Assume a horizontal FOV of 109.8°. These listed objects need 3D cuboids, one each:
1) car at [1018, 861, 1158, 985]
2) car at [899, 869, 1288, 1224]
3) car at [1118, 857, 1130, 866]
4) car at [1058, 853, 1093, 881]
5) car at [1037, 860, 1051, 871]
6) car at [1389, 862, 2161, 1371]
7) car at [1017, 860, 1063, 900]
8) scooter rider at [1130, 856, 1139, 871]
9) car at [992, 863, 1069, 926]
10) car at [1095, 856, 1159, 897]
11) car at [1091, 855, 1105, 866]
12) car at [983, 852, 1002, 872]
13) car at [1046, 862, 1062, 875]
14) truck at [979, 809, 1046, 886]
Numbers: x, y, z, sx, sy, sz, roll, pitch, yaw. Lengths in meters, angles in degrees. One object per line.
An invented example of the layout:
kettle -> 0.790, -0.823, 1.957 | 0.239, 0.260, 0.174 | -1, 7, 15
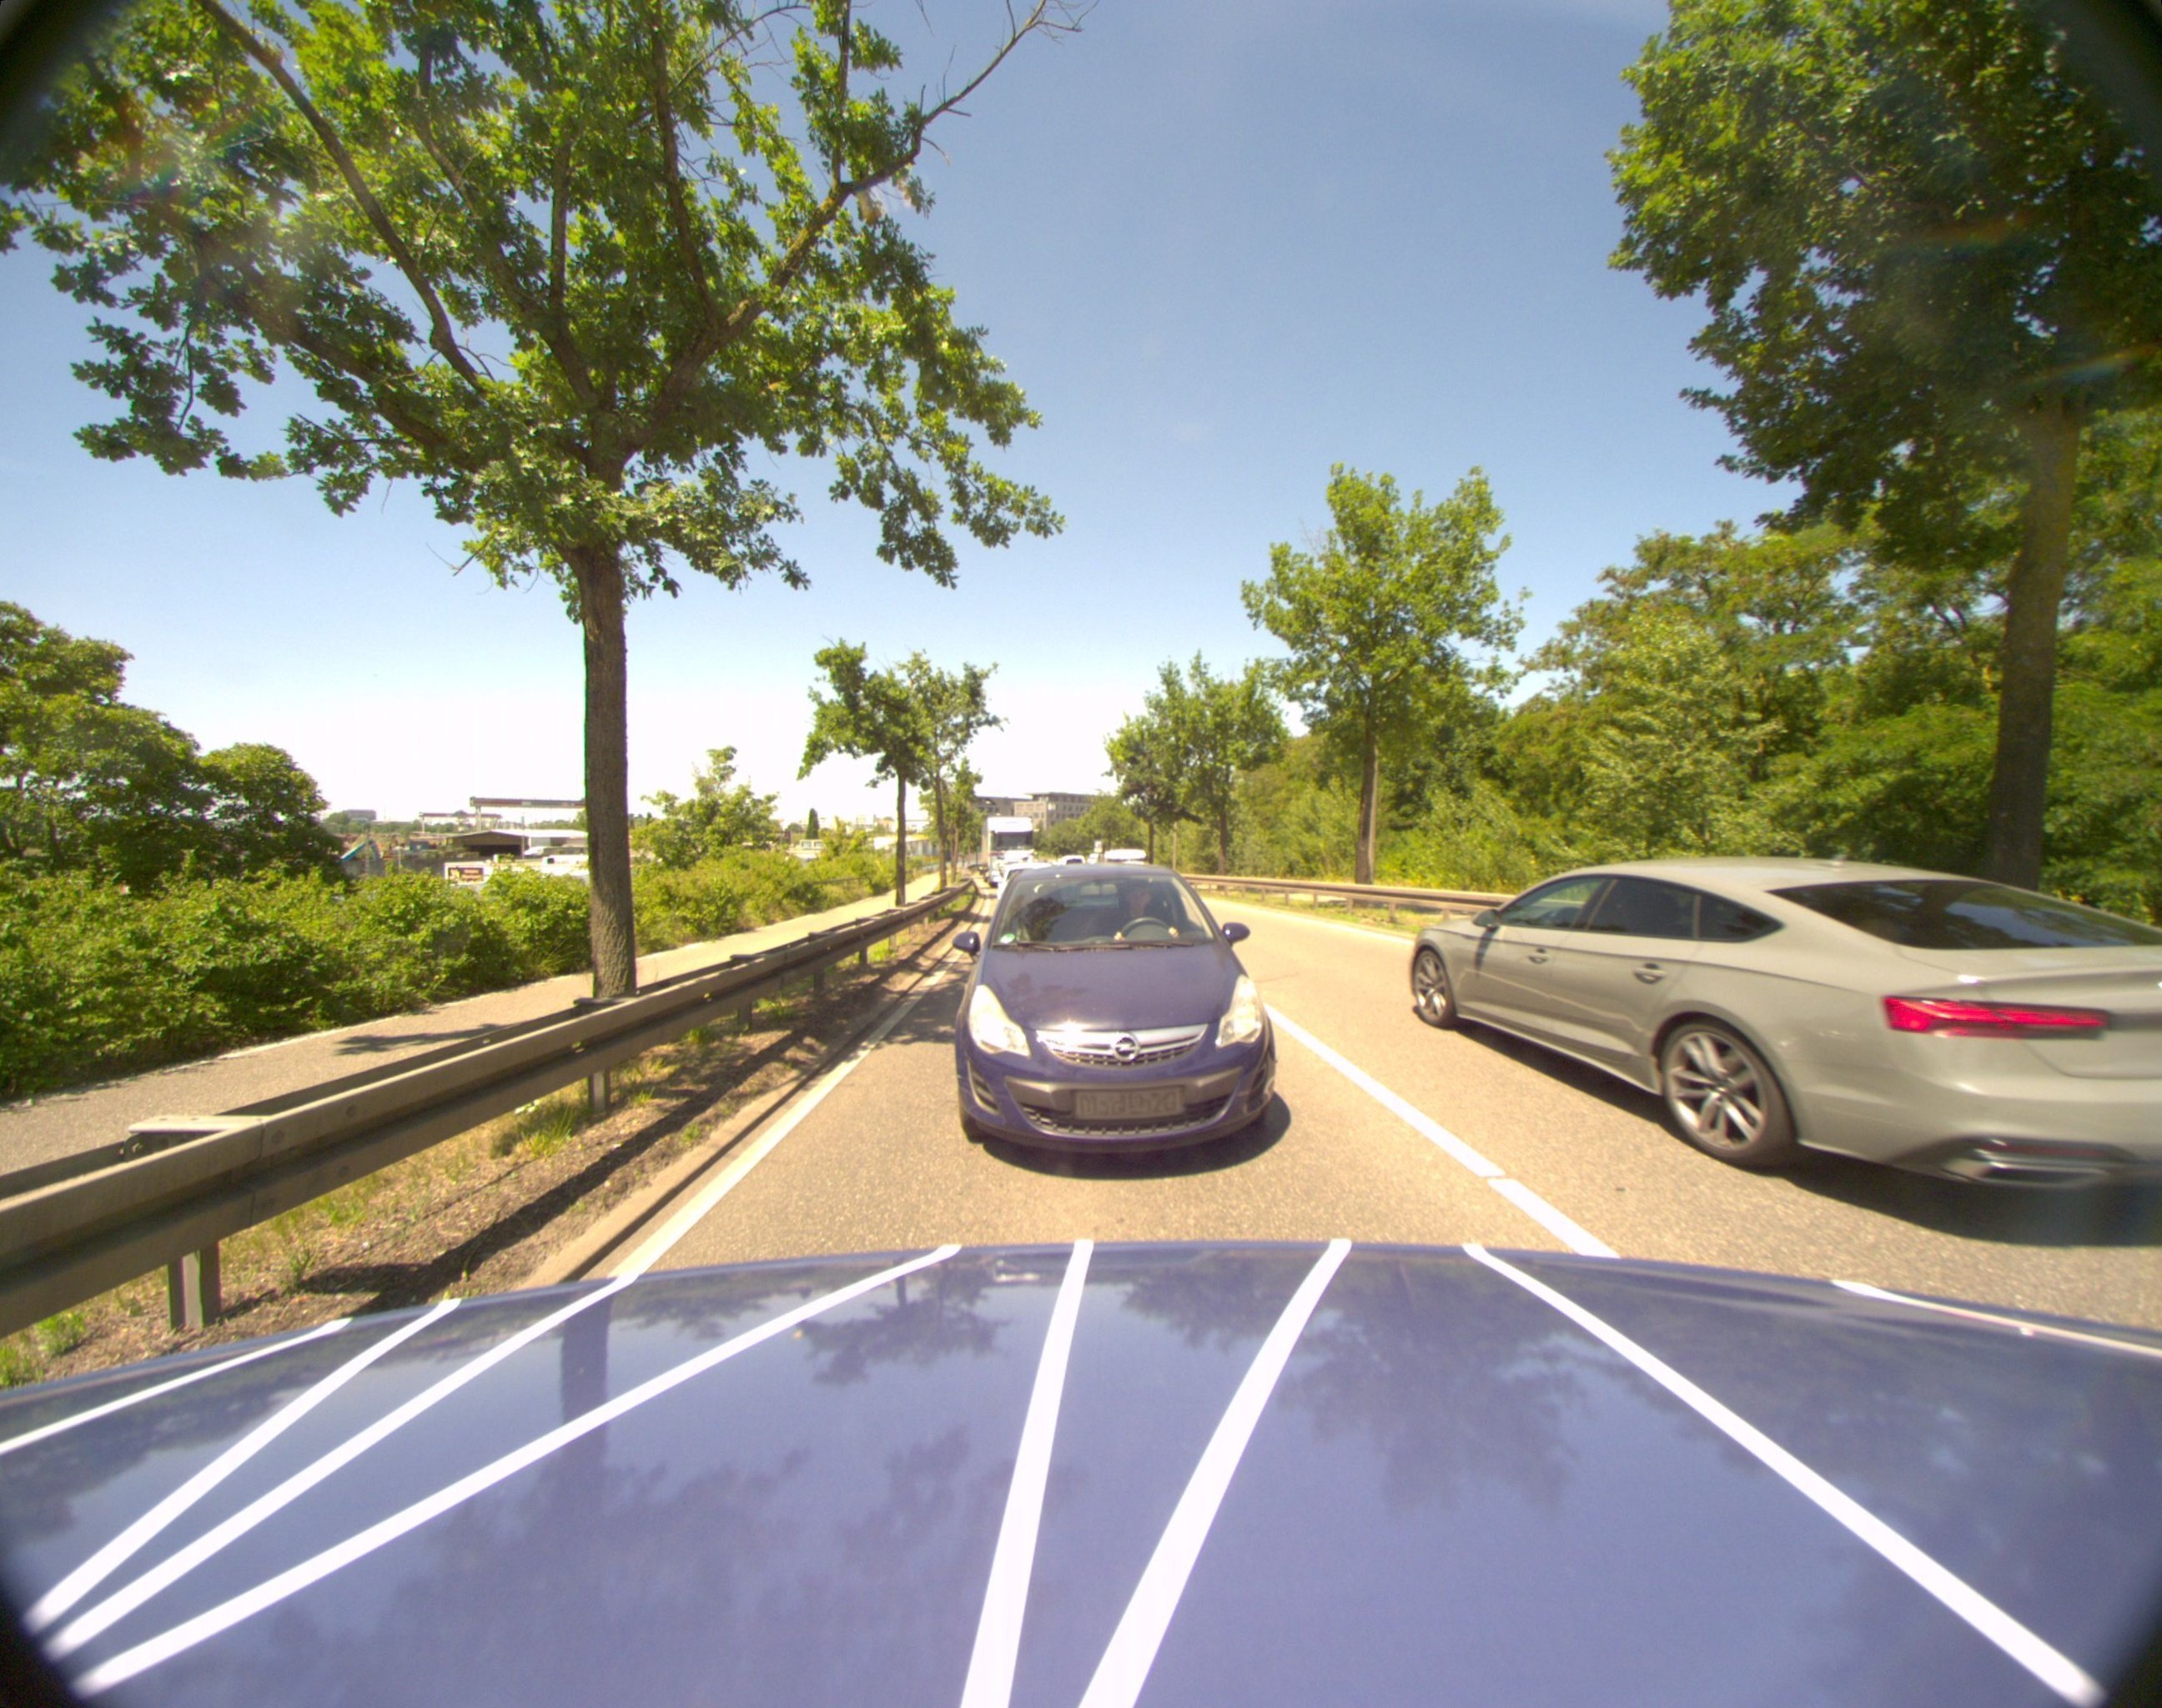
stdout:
car -> 0.088, 0.928, 11.936 | 1.780, 1.498, 3.896 | -2, 0, 0
car -> 0.043, 0.912, 5.377 | 1.720, 1.455, 3.837 | -2, 0, -1
car -> 7.903, 1.323, 139.621 | 1.873, 1.594, 4.395 | -2, 0, 7
car -> -0.413, 0.833, 50.732 | 1.751, 1.753, 4.386 | -2, 0, -7
car -> -6.971, 2.154, 143.969 | 1.779, 2.002, 4.002 | -2, 0, 9
car -> 3.654, 0.812, 4.489 | 1.764, 1.388, 4.405 | -2, 0, -1
car -> -1.887, 1.106, 33.909 | 1.781, 1.569, 3.997 | -2, 0, -6
scooter rider -> 5.864, 1.016, 83.285 | 0.779, 1.648, 1.120 | -2, 1, -1
car -> -1.327, 0.988, 20.152 | 1.781, 1.398, 3.998 | -2, 0, -4
car -> 1.752, 0.849, 30.412 | 1.825, 1.413, 4.463 | -2, 0, -6
car -> 2.479, 0.923, 110.116 | 1.753, 1.546, 4.127 | -2, 0, 3
car -> -9.241, 0.819, 78.828 | 1.781, 2.002, 3.997 | -2, 0, -8
car -> -3.045, 1.576, 84.827 | 1.561, 1.364, 3.886 | -2, 0, -5
truck -> -4.868, -0.395, 50.302 | 3.073, 4.146, 16.896 | -2, 0, -9
